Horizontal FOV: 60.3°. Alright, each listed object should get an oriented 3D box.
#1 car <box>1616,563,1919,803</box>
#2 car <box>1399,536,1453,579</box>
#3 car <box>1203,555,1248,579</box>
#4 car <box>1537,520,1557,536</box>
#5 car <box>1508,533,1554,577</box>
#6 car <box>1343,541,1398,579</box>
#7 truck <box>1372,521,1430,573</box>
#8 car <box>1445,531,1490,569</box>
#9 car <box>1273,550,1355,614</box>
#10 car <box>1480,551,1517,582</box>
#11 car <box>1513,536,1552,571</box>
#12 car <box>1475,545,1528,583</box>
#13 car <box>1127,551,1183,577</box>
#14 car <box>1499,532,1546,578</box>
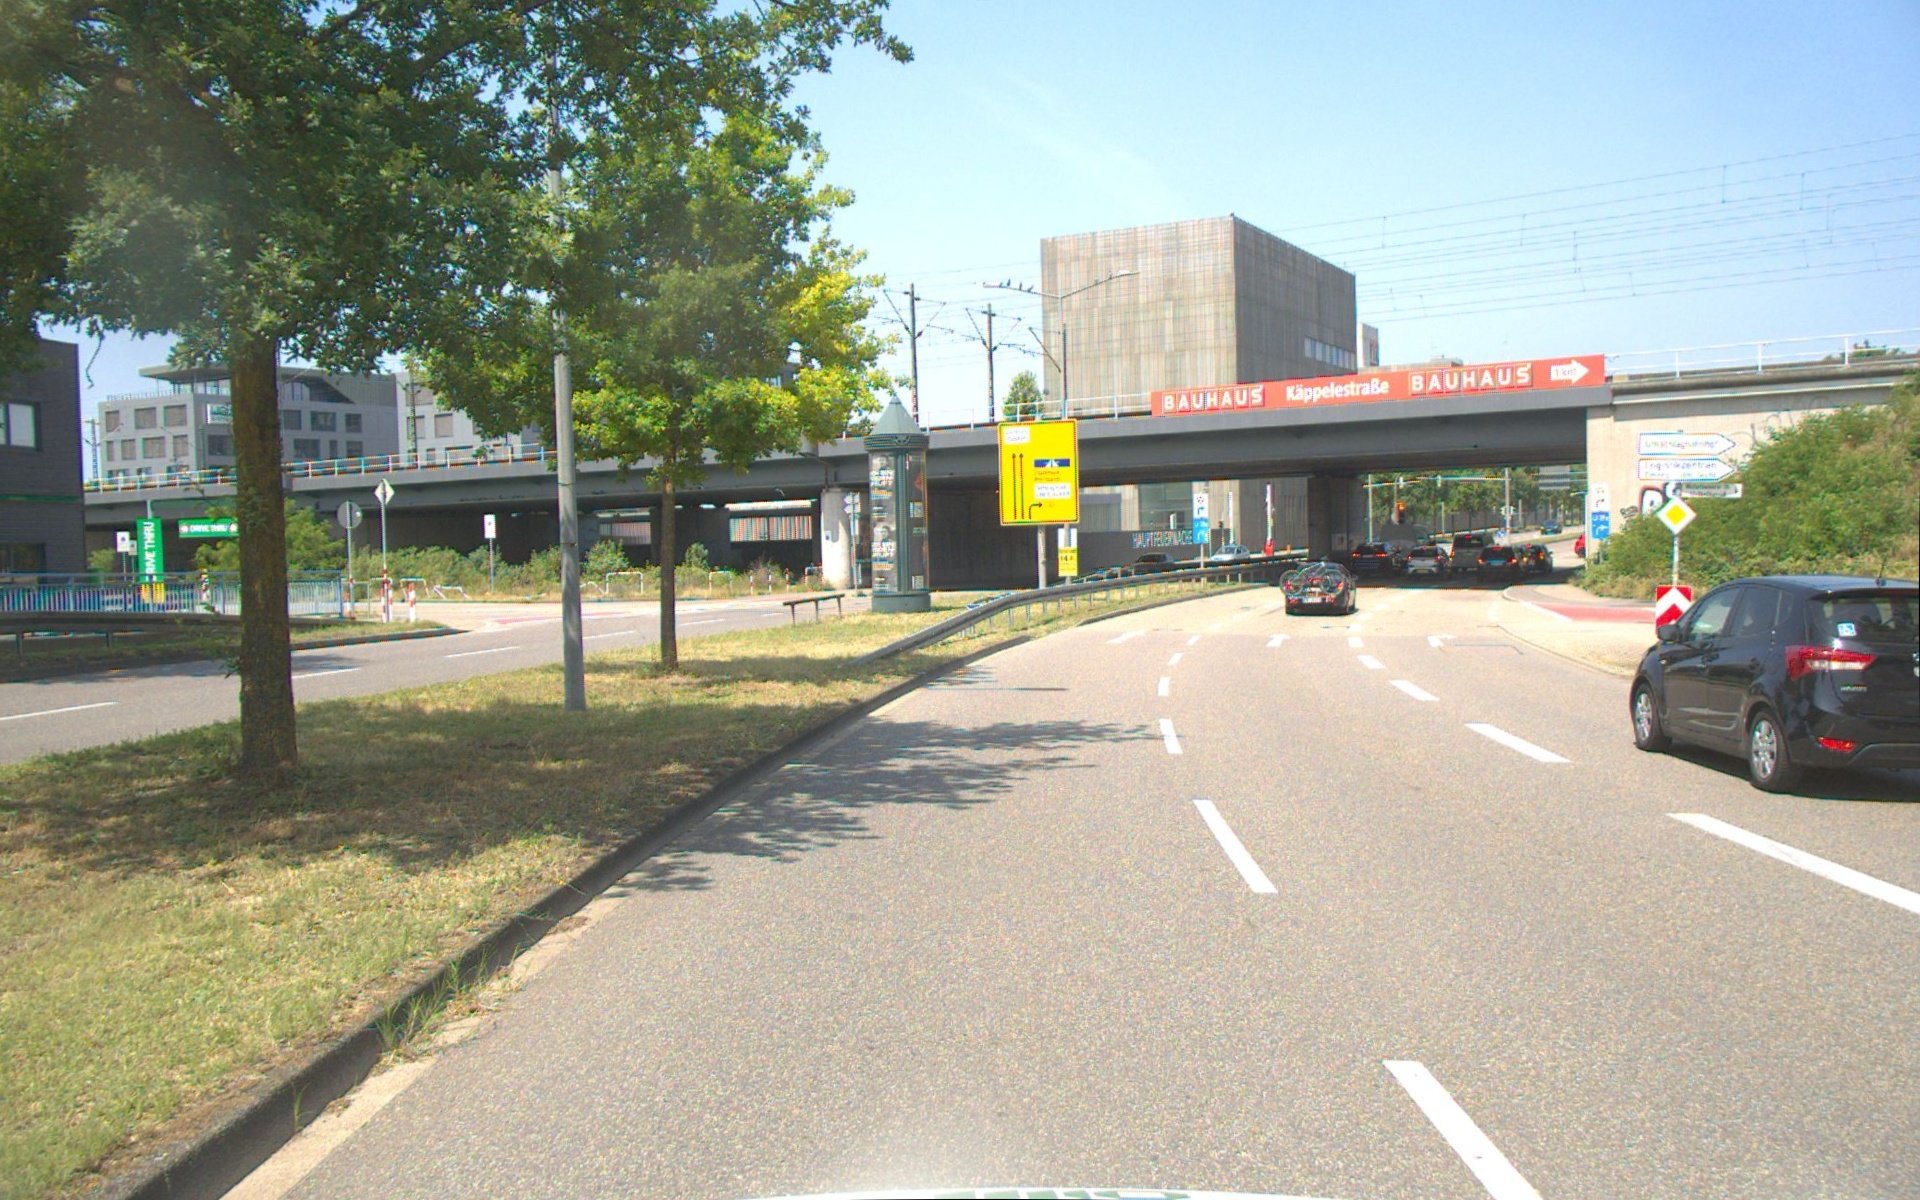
[{"bbox_3d":[6.899,0.540,13.496,1.730,1.627,4.080,1,2,5],"label":"car"},{"bbox_3d":[21.454,-1.950,76.124,1.803,1.923,3.998,0,1,25],"label":"car"},{"bbox_3d":[17.837,-2.204,111.068,1.954,1.466,3.997,-2,0,25],"label":"car"},{"bbox_3d":[66.329,-8.144,186.939,1.817,1.651,3.999,0,1,24],"label":"car"},{"bbox_3d":[28.584,-2.255,82.686,1.952,2.048,4.001,-3,0,21],"label":"car"},{"bbox_3d":[19.770,-1.919,79.560,1.901,1.751,3.998,0,1,24],"label":"car"},{"bbox_3d":[23.054,-2.748,86.326,2.028,2.582,3.995,-2,1,28],"label":"truck"},{"bbox_3d":[26.607,-2.582,86.695,1.803,1.923,3.998,0,1,24],"label":"car"},{"bbox_3d":[9.980,-0.522,46.432,1.915,1.662,4.283,2,2,16],"label":"car"},{"bbox_3d":[36.552,-2.295,112.215,1.953,2.048,3.999,1,2,23],"label":"car"},{"bbox_3d":[32.657,-2.647,94.264,1.803,1.923,3.998,0,1,24],"label":"car"},{"bbox_3d":[23.651,-1.550,72.144,1.803,1.595,3.998,0,1,24],"label":"car"},{"bbox_3d":[10.800,-2.005,91.352,1.622,1.403,4.211,0,1,28],"label":"car"},{"bbox_3d":[26.494,-2.104,77.798,1.698,2.048,3.797,-3,0,24],"label":"car"}]
